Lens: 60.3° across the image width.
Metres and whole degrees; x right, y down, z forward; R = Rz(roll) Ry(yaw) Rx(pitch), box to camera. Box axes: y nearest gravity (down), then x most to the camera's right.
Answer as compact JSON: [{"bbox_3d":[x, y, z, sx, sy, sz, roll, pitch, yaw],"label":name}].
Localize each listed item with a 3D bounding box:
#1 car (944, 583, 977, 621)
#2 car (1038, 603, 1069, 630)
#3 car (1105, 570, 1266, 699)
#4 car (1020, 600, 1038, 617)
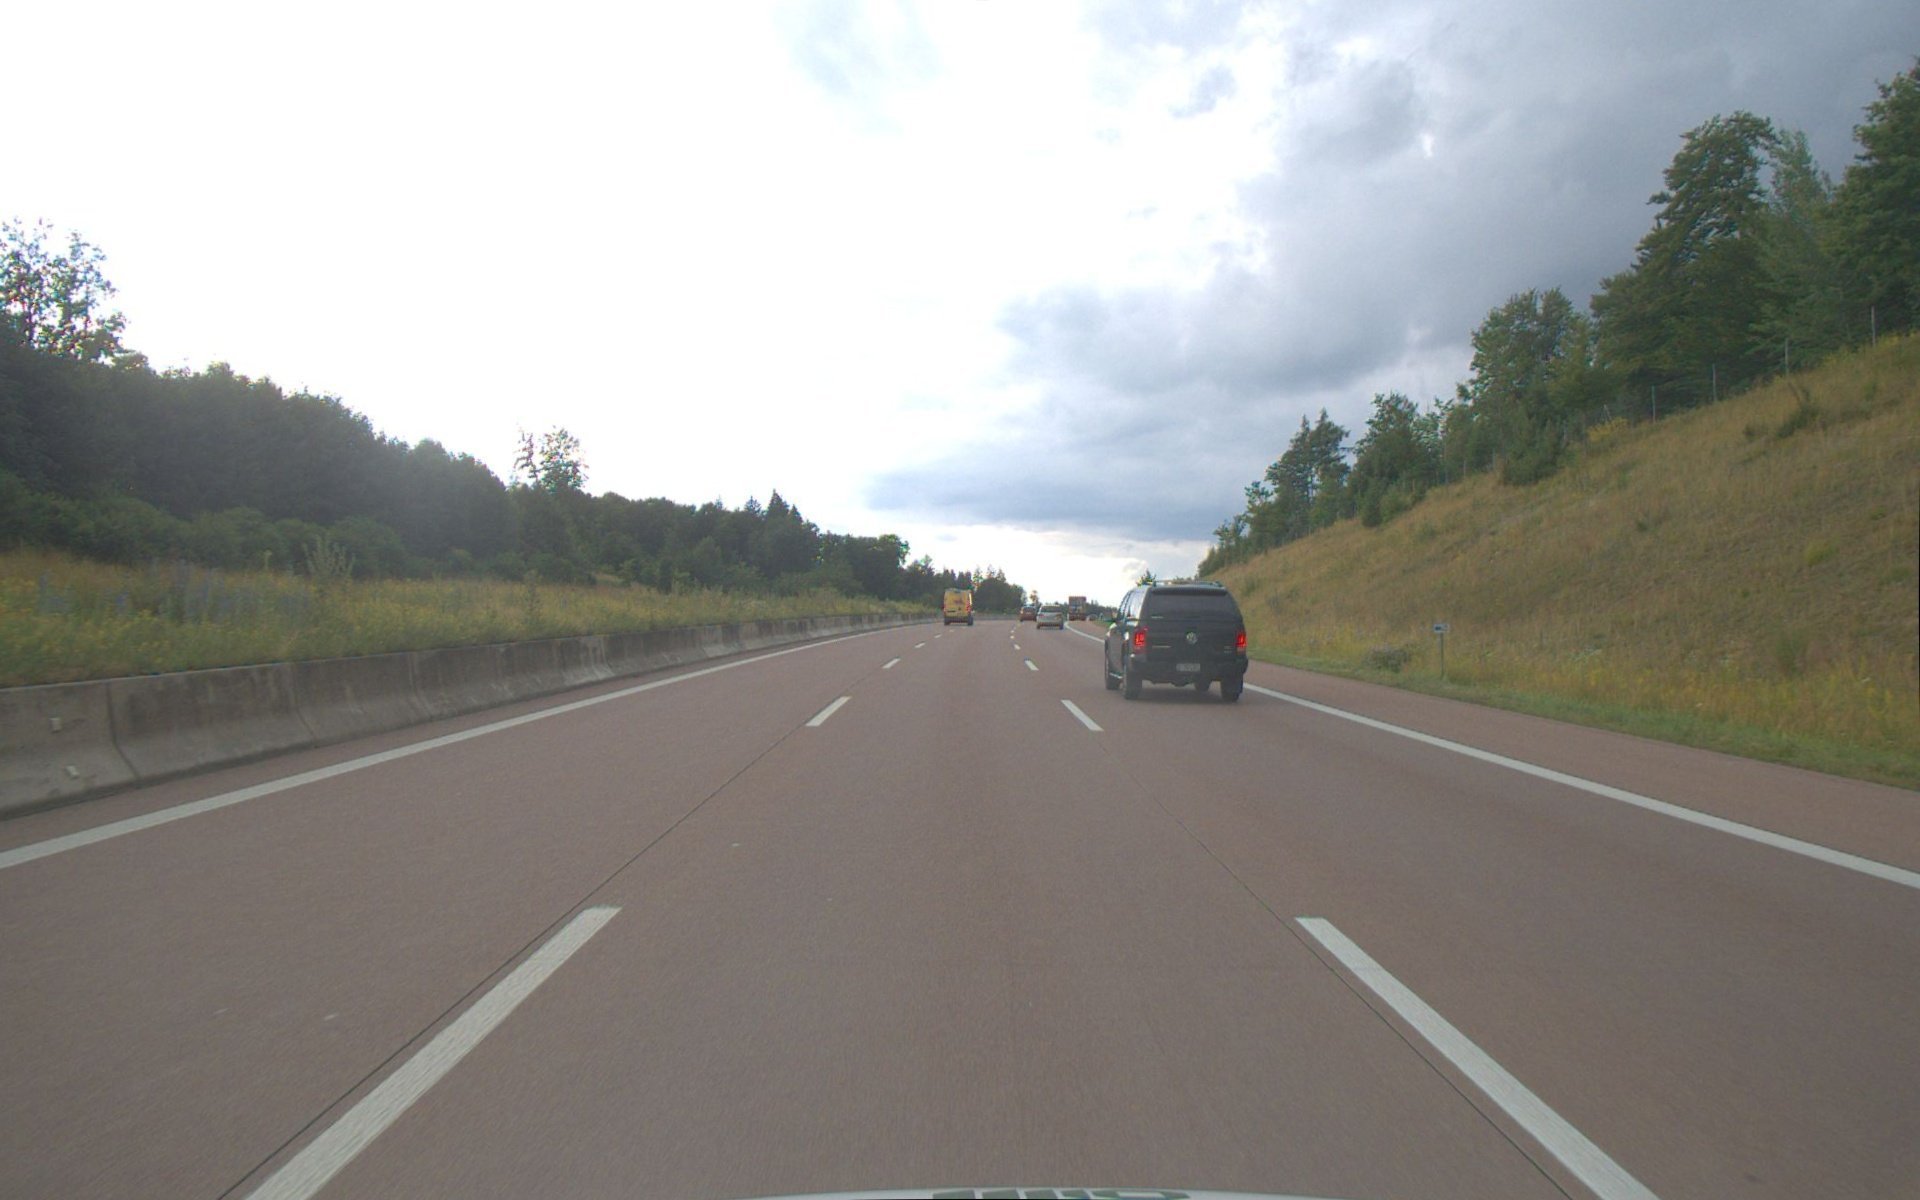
[{"bbox_3d":[0.069,0.171,125.843,2.408,2.754,5.614,0,-1,1],"label":"car"},{"bbox_3d":[6.156,1.081,108.697,1.936,1.677,4.621,1,-1,4],"label":"car"},{"bbox_3d":[3.635,0.564,27.673,2.002,1.930,5.577,0,-1,1],"label":"car"},{"bbox_3d":[7.463,0.954,178.958,1.848,1.795,4.783,0,-1,3],"label":"car"}]
